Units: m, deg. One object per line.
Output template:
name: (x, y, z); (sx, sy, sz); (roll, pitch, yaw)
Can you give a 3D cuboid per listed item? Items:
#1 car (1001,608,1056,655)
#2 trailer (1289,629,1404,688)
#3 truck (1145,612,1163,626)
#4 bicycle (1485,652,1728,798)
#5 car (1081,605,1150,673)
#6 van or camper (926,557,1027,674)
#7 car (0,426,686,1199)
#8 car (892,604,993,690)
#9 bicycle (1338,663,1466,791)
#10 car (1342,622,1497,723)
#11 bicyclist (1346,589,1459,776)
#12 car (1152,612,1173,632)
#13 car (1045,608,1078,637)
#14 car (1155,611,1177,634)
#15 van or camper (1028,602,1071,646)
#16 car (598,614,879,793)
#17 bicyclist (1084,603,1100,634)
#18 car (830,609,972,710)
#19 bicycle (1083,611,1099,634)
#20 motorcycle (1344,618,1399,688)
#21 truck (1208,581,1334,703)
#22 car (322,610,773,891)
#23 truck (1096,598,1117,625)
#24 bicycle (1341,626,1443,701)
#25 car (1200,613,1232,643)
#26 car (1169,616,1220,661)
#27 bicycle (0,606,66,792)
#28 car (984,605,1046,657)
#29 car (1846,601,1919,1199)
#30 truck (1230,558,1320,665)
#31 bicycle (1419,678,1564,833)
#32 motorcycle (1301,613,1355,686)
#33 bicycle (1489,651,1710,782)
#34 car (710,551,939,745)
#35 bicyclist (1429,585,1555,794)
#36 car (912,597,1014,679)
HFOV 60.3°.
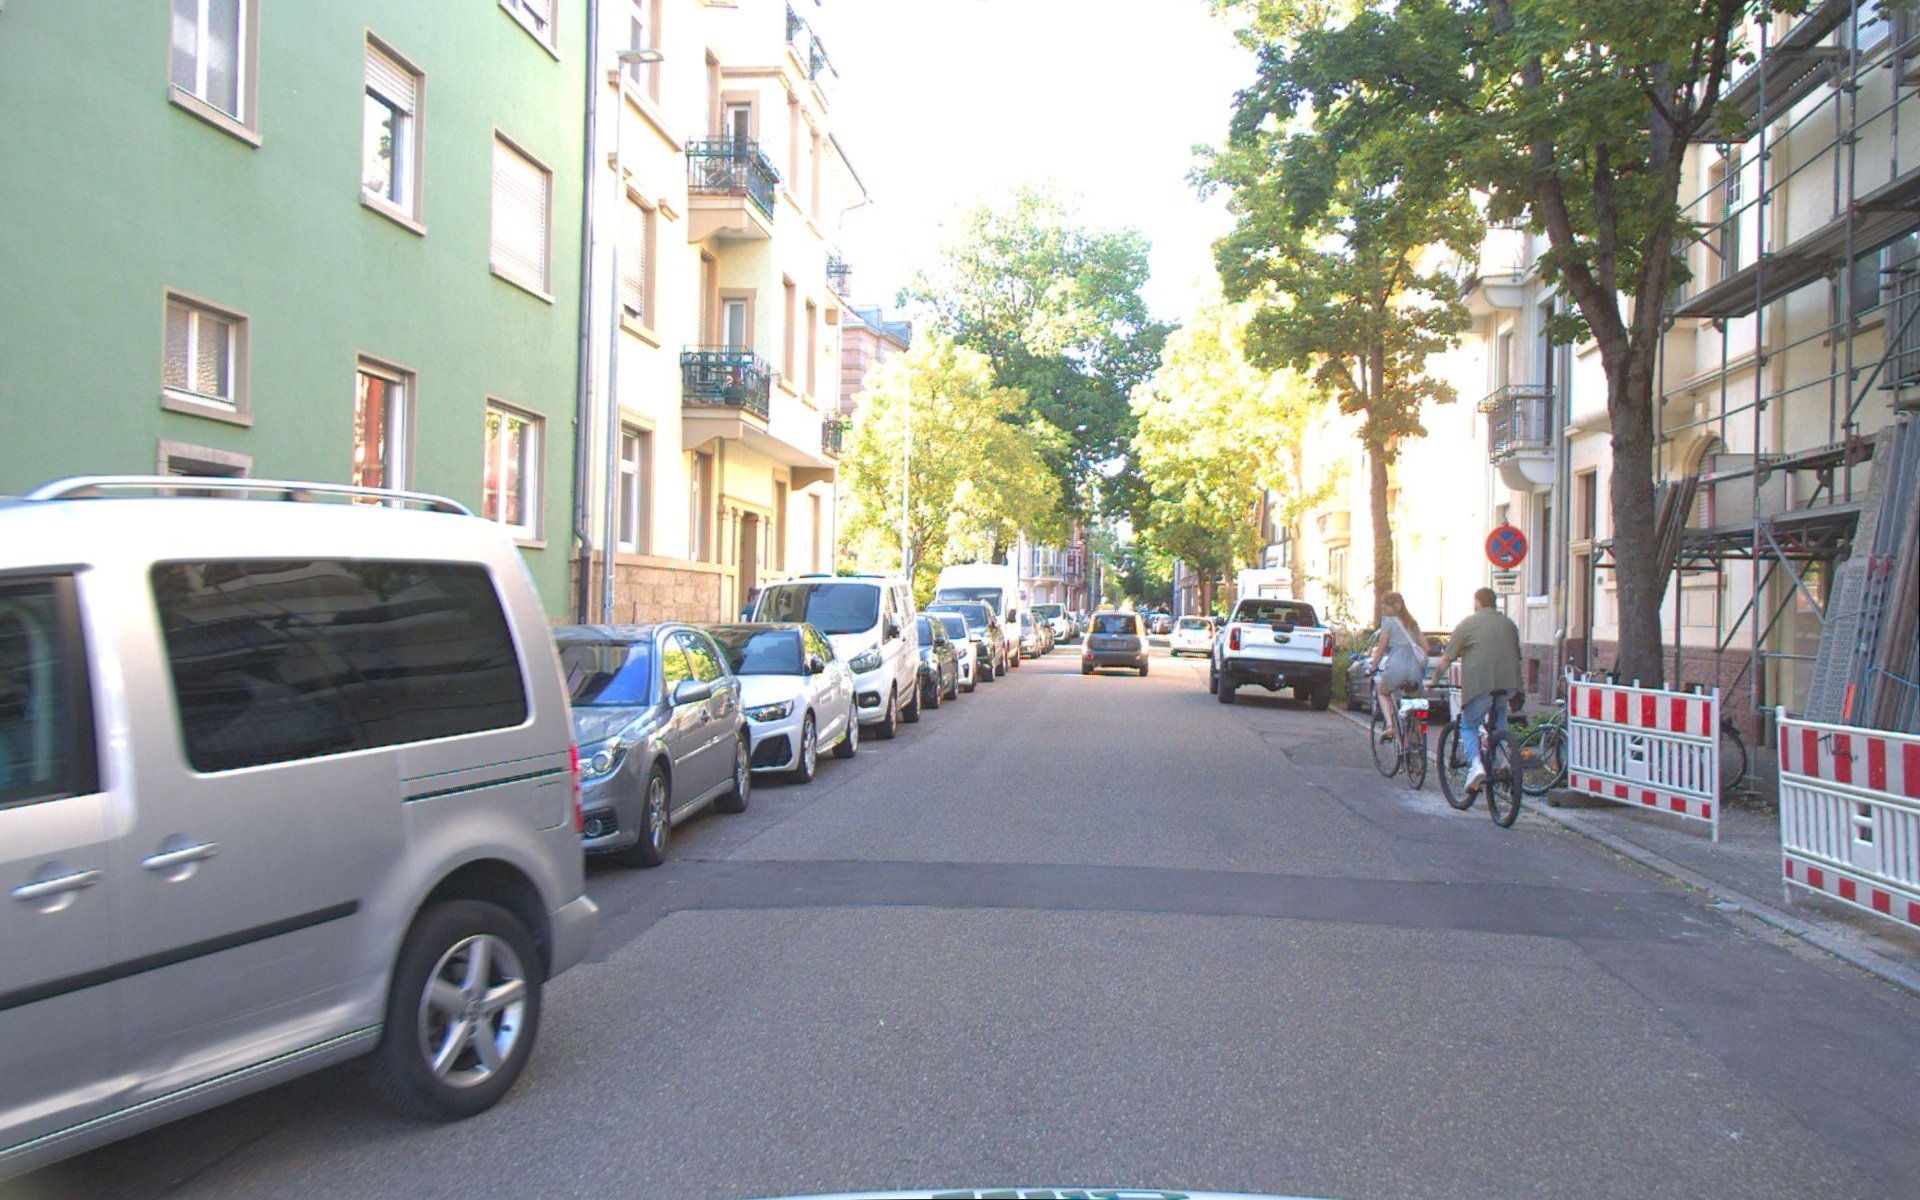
car: (2.522, 1.109, 60.355); (1.640, 1.600, 4.154); (-2, 0, 7)
trailer: (7.950, 1.194, 34.065); (2.041, 1.131, 1.114); (2, 0, -8)
truck: (22.654, 2.226, 193.289); (1.951, 1.482, 4.003); (1, 0, 6)
bicycle: (5.759, 1.077, 14.778); (1.891, 1.141, 0.745); (2, 0, 36)
car: (3.809, 0.919, 40.413); (1.598, 1.577, 3.266); (0, 0, 6)
van or camper: (0.516, 0.404, 43.415); (2.083, 2.818, 5.855); (-1, -1, 6)
car: (-2.690, 0.588, 4.108); (1.736, 1.875, 4.412); (-1, -1, 26)
car: (-0.286, 0.901, 32.588); (1.600, 1.579, 4.091); (0, -1, 5)
bicycle: (4.259, 1.199, 16.054); (0.691, 1.063, 1.858); (4, 0, 0)
car: (7.254, 1.091, 26.499); (1.644, 1.447, 4.433); (0, 0, 6)
bicyclist: (4.264, 0.775, 15.999); (0.700, 1.718, 0.981); (4, 0, -2)
car: (16.513, 1.813, 134.667); (1.628, 1.531, 3.759); (2, 0, 7)
car: (5.945, 1.307, 96.873); (1.786, 1.581, 4.135); (-3, -1, 4)
car: (16.208, 1.773, 130.177); (1.628, 1.698, 3.759); (2, 0, 7)
van or camper: (4.429, 1.180, 81.114); (1.881, 2.014, 5.465); (-2, -1, 5)
car: (-1.993, 0.900, 16.218); (1.794, 1.488, 4.365); (-1, -1, 5)
bicyclist: (6.735, 0.928, 84.561); (0.638, 1.534, 0.625); (5, 0, 6)
car: (-0.900, 0.927, 27.866); (1.729, 1.548, 4.828); (0, 0, 6)
bicycle: (6.699, 1.166, 84.558); (0.651, 1.095, 1.686); (5, 0, 7)
motorcycle: (8.919, 1.124, 35.923); (0.843, 1.441, 2.235); (2, 0, 7)
truck: (5.600, 0.711, 30.364); (1.790, 1.983, 5.544); (2, 0, 6)
car: (-2.497, 0.839, 11.216); (1.684, 1.488, 4.508); (-1, -1, 3)
truck: (16.474, 1.293, 185.582); (2.026, 2.977, 5.071); (-3, -1, 7)
bicycle: (7.918, 1.154, 30.384); (1.722, 1.328, 0.586); (1, 0, 4)
car: (13.269, 1.444, 85.938); (1.488, 1.537, 3.546); (1, 0, 6)
car: (8.742, 1.412, 61.883); (1.643, 1.571, 3.802); (2, 0, 5)
bicycle: (-6.038, 0.588, 9.504); (0.476, 1.094, 1.971); (5, 0, 6)
car: (1.841, 0.994, 54.185); (1.742, 1.618, 4.471); (-1, 0, 5)
car: (2.613, 0.807, 1.600); (1.764, 1.562, 3.967); (2, 0, 7)
truck: (9.485, 0.340, 50.254); (2.030, 3.021, 6.112); (-1, 0, 5)
bicycle: (4.288, 1.223, 13.483); (0.723, 1.078, 1.859); (2, -1, 6)
motorcycle: (7.999, 1.049, 35.992); (0.910, 1.512, 2.139); (2, 0, 7)
bicycle: (6.222, 1.117, 16.189); (1.935, 1.141, 0.748); (2, 0, 16)
car: (-1.618, 0.588, 21.855); (2.204, 2.206, 5.246); (-1, -1, 4)
bicyclist: (4.286, 0.696, 13.385); (0.739, 1.592, 0.982); (2, 0, 7)
car: (0.138, 0.824, 37.647); (1.836, 1.715, 4.972); (-1, 0, 5)
